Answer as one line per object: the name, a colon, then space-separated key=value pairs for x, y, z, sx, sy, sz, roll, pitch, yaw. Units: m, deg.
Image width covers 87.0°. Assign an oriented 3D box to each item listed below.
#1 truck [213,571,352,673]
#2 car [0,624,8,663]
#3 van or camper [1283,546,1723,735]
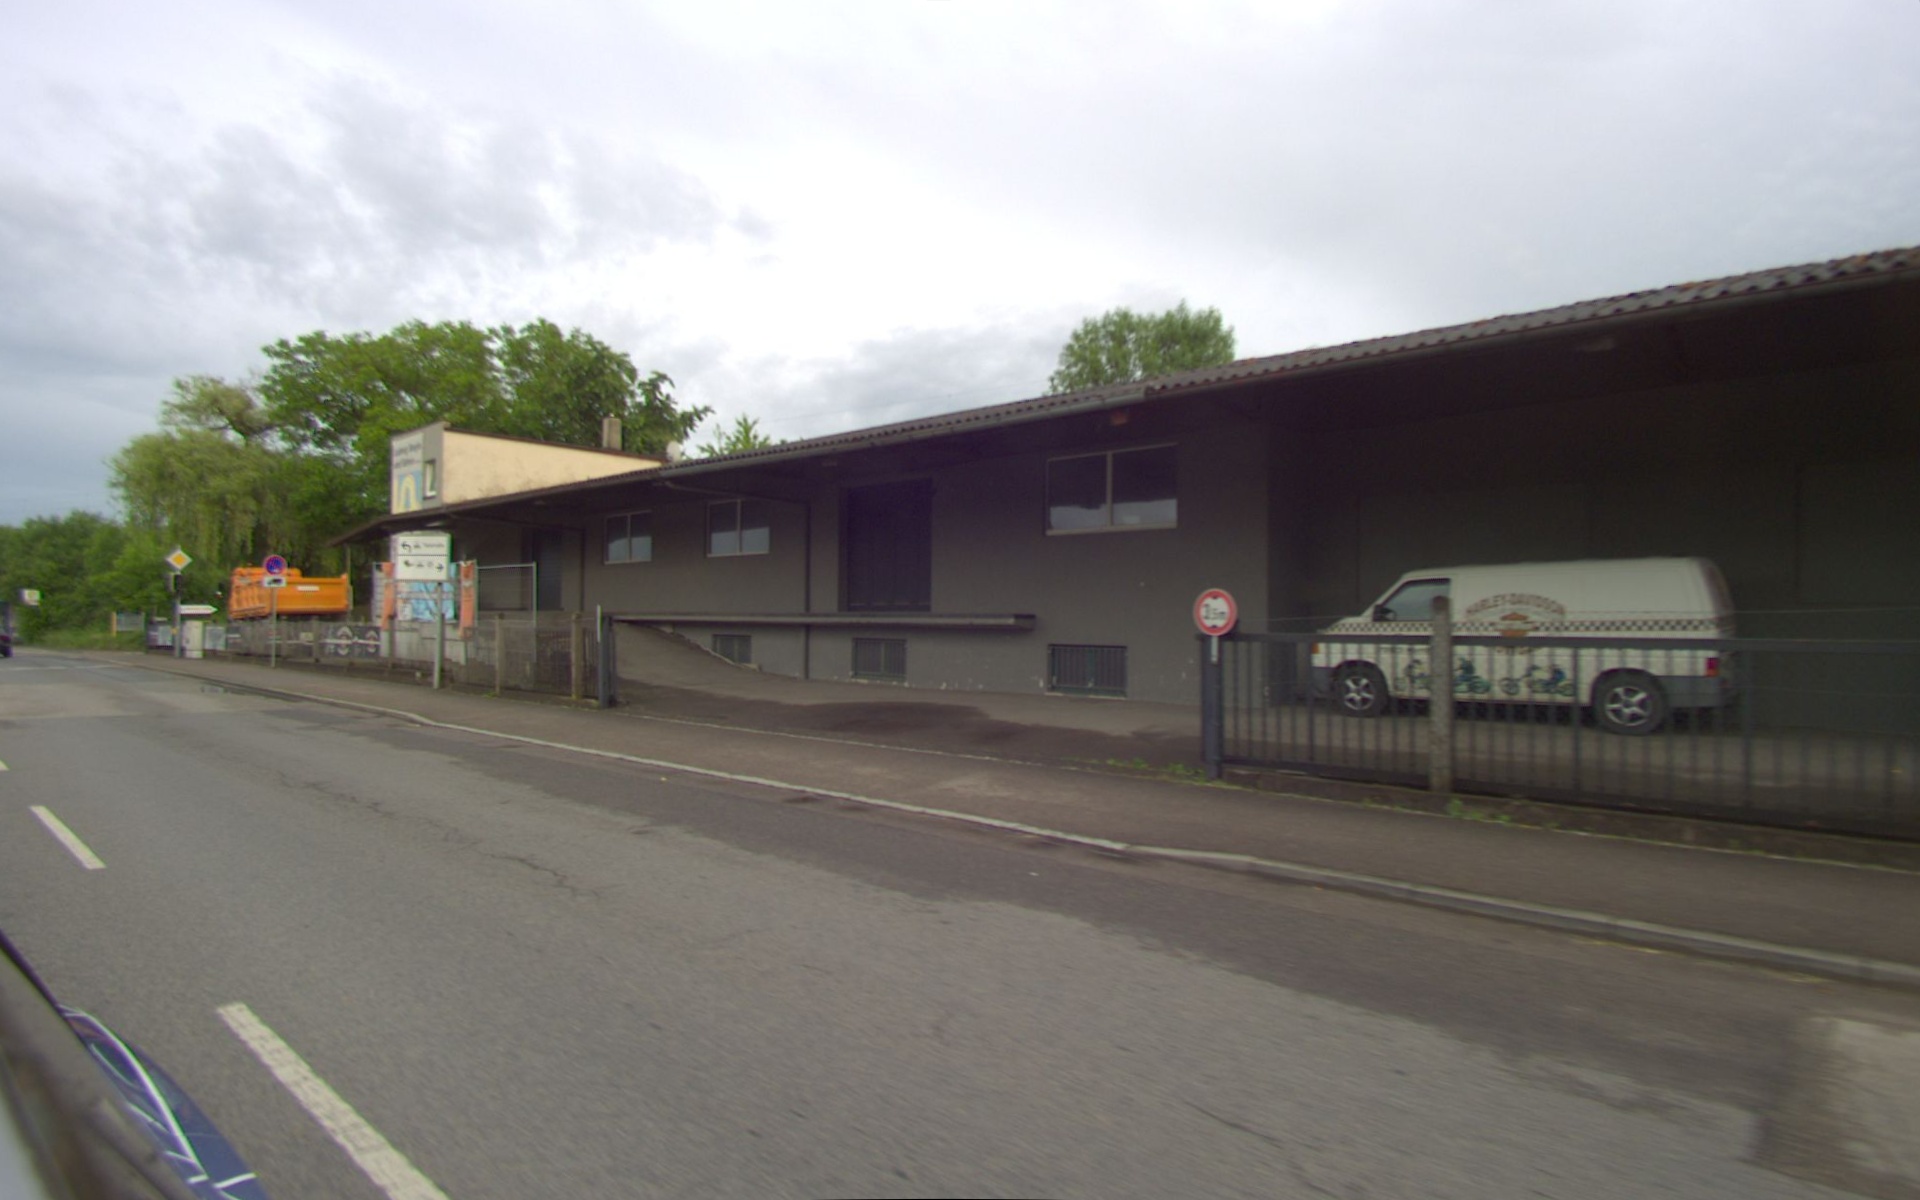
truck: x=-25.811 y=0.627 z=38.332 sx=2.667 sy=3.437 sz=9.077 roll=-2 pitch=2 yaw=-45
car: x=-41.944 y=1.865 z=43.151 sx=4.544 sy=1.462 sz=1.723 roll=2 pitch=2 yaw=44
van or camper: x=6.549 y=0.409 z=12.470 sx=4.468 sy=1.923 sz=1.973 roll=-1 pitch=1 yaw=40
